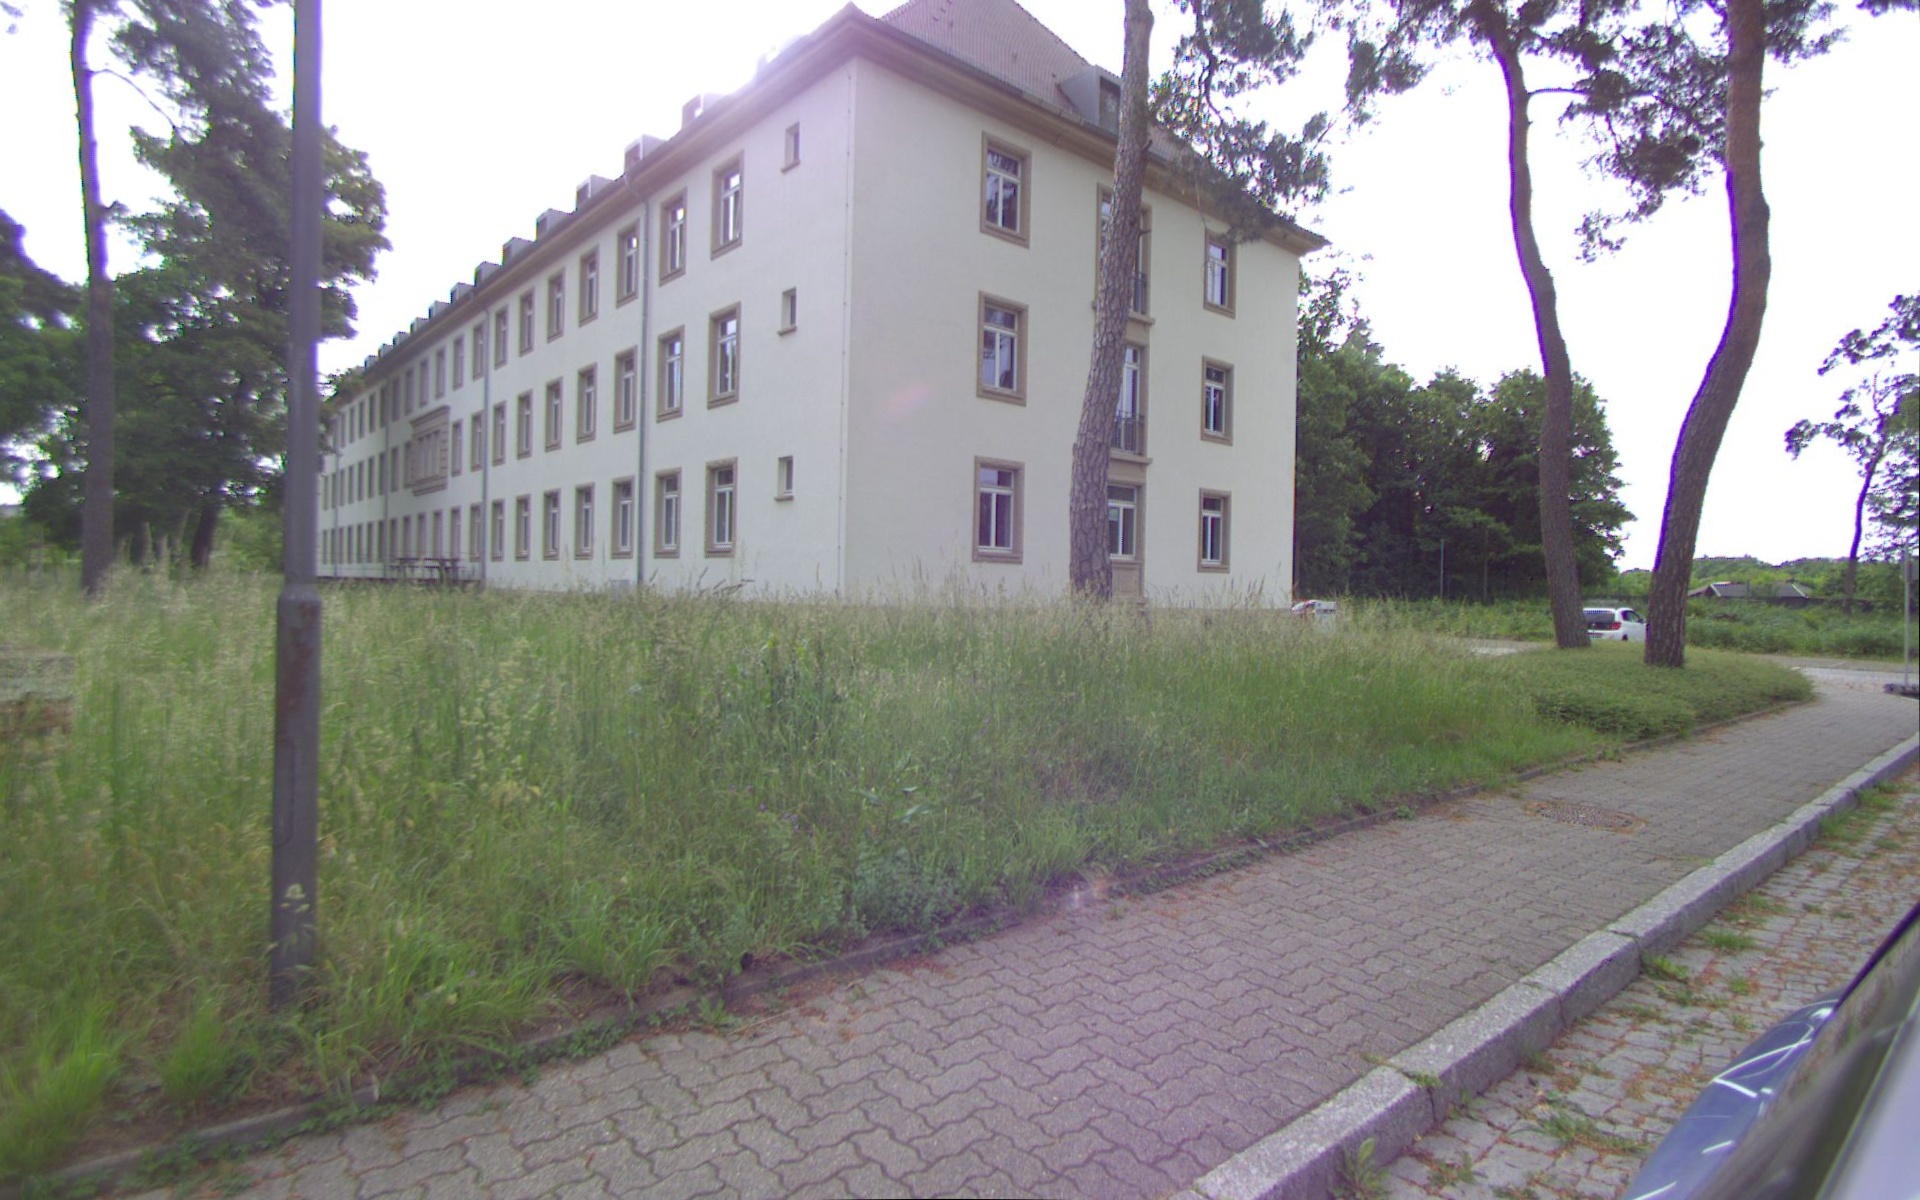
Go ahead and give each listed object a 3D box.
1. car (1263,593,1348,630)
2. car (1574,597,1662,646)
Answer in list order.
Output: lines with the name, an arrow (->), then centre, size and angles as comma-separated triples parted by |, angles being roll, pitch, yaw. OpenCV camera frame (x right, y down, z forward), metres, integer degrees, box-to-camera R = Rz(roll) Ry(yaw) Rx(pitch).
car -> 14.460, 0.450, 42.229 | 3.931, 1.345, 1.640 | -2, 2, -41
car -> 22.006, 0.680, 33.825 | 3.221, 1.451, 1.640 | -2, 3, -41
